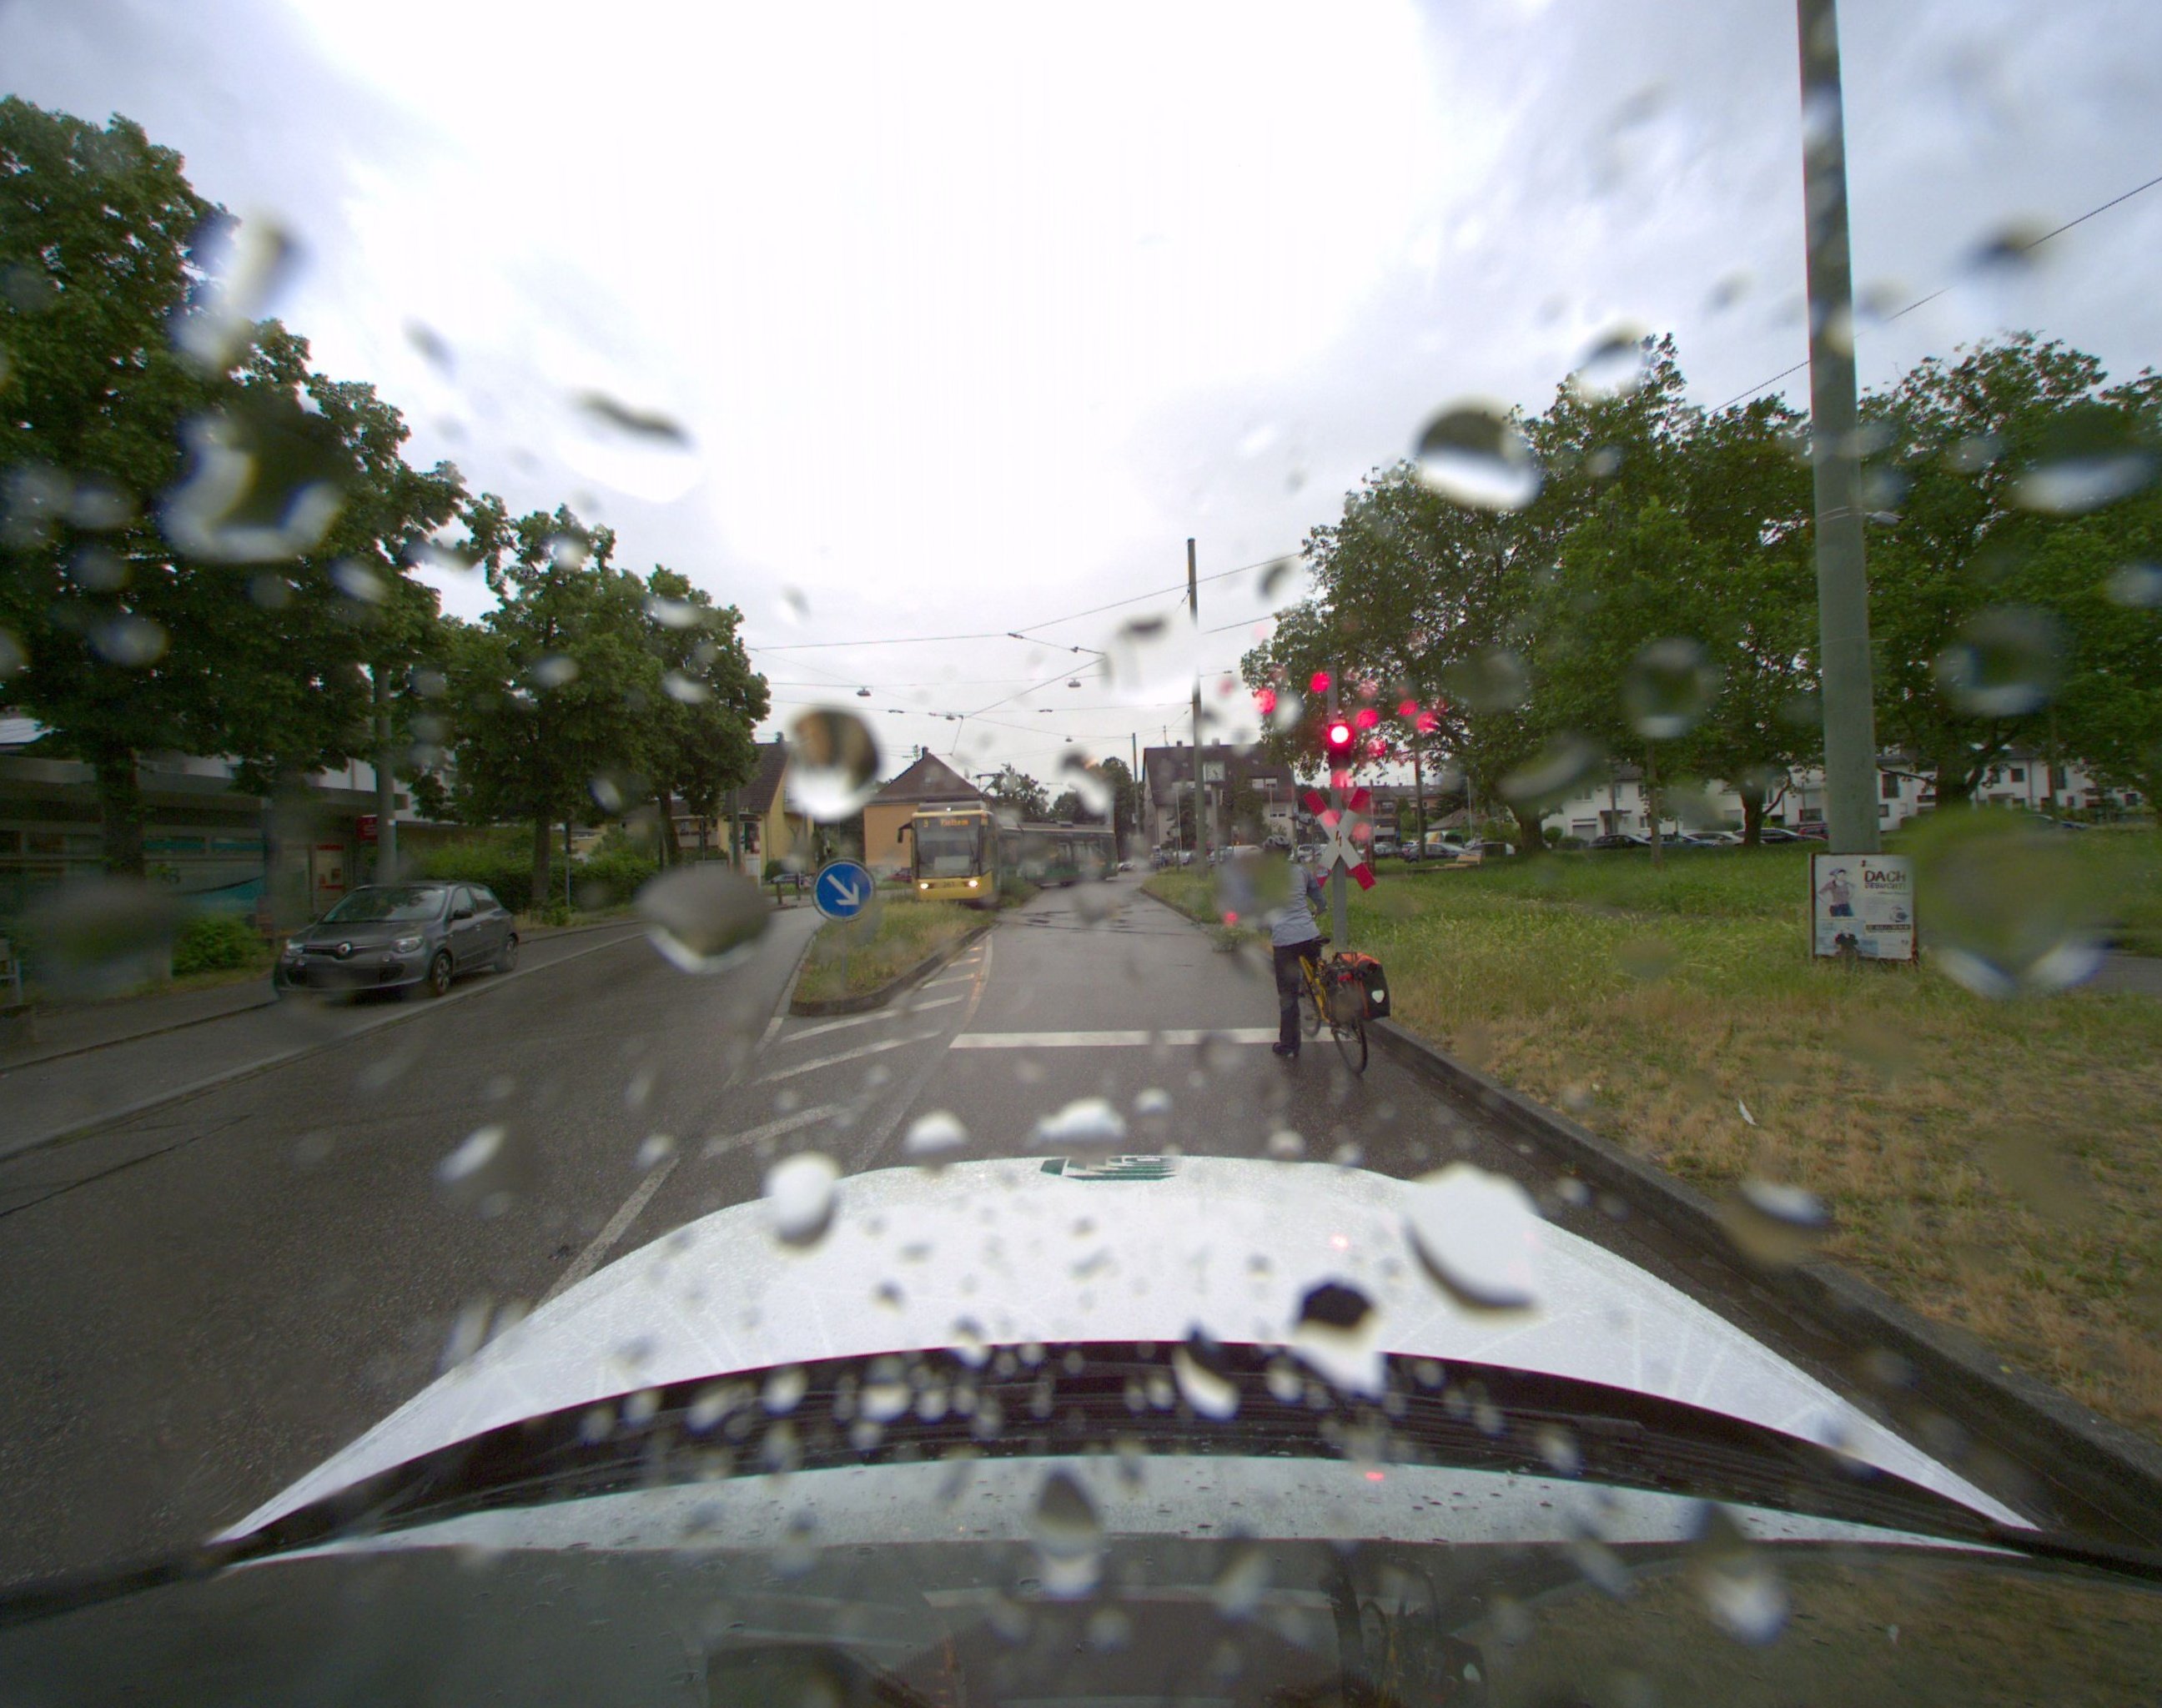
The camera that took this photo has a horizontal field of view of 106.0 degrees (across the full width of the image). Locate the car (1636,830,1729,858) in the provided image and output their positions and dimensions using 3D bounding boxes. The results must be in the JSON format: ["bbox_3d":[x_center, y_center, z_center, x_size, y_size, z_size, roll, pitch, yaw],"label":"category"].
[{"bbox_3d":[33.203,-0.517,44.991,1.821,1.495,3.867,0,-1,-44],"label":"car"}]

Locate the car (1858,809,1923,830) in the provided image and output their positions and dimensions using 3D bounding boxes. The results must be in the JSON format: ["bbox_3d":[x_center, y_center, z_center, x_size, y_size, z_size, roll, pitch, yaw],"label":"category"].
[{"bbox_3d":[69.999,-2.997,70.452,3.670,1.660,1.891,0,-1,2],"label":"car"}]

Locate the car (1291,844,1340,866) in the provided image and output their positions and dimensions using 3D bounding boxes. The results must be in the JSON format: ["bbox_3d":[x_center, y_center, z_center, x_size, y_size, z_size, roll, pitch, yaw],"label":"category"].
[{"bbox_3d":[21.812,0.083,75.929,3.974,1.951,1.999,0,-1,-1],"label":"car"}]

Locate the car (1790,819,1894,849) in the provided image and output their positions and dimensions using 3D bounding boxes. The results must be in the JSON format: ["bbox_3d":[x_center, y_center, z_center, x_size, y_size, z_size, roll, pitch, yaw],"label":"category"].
[{"bbox_3d":[42.628,-1.089,45.682,1.814,1.495,3.881,0,-1,-27],"label":"car"}]

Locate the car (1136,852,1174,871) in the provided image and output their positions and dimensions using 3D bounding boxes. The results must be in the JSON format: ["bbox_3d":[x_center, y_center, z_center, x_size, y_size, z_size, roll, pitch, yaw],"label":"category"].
[{"bbox_3d":[6.651,0.646,72.781,1.975,1.640,4.024,-1,-1,27],"label":"car"}]

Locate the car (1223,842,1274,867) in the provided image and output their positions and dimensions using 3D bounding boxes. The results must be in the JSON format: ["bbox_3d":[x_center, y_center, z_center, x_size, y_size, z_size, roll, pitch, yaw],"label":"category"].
[{"bbox_3d":[15.630,0.072,76.041,4.381,2.325,2.000,0,-1,-1],"label":"car"}]

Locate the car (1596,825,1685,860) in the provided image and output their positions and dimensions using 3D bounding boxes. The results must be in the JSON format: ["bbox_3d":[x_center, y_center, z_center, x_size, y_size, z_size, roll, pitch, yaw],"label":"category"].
[{"bbox_3d":[30.541,-0.612,44.533,1.821,1.798,3.721,0,-1,-44],"label":"car"}]

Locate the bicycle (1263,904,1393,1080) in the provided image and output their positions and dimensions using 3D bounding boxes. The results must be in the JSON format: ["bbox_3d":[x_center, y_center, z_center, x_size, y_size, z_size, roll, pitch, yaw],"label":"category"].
[{"bbox_3d":[1.793,0.946,6.139,0.444,1.004,1.728,-2,0,1],"label":"bicycle"}]

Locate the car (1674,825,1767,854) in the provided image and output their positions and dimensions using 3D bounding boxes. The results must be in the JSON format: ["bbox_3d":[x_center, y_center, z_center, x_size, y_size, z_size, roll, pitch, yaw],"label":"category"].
[{"bbox_3d":[35.706,-0.754,45.521,1.821,1.495,3.867,0,-1,-44],"label":"car"}]

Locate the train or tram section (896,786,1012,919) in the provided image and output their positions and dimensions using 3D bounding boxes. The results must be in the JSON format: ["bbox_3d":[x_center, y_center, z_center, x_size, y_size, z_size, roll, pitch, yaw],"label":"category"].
[{"bbox_3d":[-4.021,-0.039,28.562,2.755,3.553,12.187,-2,0,-4],"label":"train or tram section"}]

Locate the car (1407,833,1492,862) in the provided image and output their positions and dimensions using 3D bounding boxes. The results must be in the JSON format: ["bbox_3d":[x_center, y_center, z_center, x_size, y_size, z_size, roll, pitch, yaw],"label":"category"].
[{"bbox_3d":[20.259,-0.323,44.902,1.821,1.495,3.867,0,-1,-44],"label":"car"}]

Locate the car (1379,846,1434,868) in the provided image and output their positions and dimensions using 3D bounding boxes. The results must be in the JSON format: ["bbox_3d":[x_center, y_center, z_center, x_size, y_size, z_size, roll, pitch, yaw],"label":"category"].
[{"bbox_3d":[25.896,0.208,64.954,3.670,1.701,1.891,0,-1,2],"label":"car"}]

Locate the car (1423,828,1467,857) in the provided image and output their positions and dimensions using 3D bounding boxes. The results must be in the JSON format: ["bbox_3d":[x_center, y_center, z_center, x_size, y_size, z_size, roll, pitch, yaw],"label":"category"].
[{"bbox_3d":[32.576,-0.971,72.994,1.987,2.443,4.354,0,-1,1],"label":"car"}]

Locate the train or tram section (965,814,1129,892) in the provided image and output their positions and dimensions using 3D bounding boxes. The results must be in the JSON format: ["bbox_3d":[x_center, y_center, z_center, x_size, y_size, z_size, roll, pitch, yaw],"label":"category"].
[{"bbox_3d":[-1.302,-0.184,44.060,2.735,3.553,13.212,-2,0,26],"label":"train or tram section"}]

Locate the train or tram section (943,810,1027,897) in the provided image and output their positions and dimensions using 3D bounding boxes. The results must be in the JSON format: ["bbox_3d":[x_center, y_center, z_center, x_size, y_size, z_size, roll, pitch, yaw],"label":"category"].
[{"bbox_3d":[-4.204,-0.038,36.841,2.748,3.553,4.993,-2,0,4],"label":"train or tram section"}]

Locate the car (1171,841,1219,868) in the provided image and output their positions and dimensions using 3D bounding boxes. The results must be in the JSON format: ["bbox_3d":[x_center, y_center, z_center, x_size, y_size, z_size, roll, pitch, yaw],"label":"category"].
[{"bbox_3d":[11.182,0.020,79.718,4.362,2.566,2.008,-1,-1,16],"label":"car"}]

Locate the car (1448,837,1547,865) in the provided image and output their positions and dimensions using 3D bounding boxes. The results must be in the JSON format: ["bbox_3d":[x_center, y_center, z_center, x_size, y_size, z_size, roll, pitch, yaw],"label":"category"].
[{"bbox_3d":[20.504,-0.131,40.248,3.964,1.285,1.851,0,-1,9],"label":"car"}]

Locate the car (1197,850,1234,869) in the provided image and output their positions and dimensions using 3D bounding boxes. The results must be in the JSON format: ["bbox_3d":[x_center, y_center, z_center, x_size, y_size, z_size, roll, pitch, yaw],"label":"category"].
[{"bbox_3d":[11.629,0.475,70.247,1.975,1.640,4.024,-1,-1,27],"label":"car"}]

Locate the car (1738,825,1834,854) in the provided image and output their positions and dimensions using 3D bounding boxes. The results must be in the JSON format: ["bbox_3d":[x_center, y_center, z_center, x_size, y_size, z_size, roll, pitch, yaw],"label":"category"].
[{"bbox_3d":[39.265,-0.781,45.409,1.821,1.495,3.867,0,-1,-44],"label":"car"}]

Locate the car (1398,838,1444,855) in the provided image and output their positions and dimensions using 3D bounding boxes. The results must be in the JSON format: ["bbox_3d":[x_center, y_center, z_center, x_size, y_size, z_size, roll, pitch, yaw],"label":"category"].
[{"bbox_3d":[35.426,-0.779,84.946,3.971,1.640,1.847,0,-1,2],"label":"car"}]

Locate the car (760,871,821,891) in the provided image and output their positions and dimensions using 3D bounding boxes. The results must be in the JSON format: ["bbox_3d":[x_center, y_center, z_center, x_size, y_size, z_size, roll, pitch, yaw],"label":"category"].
[{"bbox_3d":[-22.106,2.036,62.029,3.979,1.456,1.831,0,-1,-5],"label":"car"}]

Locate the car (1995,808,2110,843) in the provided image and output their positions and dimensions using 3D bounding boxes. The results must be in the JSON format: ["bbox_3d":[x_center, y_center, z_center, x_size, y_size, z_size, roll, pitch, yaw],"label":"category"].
[{"bbox_3d":[54.634,-1.577,45.859,1.815,1.765,3.879,0,-1,-29],"label":"car"}]

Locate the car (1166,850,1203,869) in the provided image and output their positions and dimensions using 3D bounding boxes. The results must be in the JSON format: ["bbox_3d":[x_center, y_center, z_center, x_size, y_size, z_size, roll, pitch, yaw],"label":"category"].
[{"bbox_3d":[9.097,0.506,71.478,1.975,1.640,4.024,-1,-1,27],"label":"car"}]

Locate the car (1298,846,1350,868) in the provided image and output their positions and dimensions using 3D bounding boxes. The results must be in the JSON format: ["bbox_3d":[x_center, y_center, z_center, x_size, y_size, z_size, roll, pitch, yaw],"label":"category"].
[{"bbox_3d":[19.315,0.253,64.810,3.670,1.701,1.891,0,-1,2],"label":"car"}]

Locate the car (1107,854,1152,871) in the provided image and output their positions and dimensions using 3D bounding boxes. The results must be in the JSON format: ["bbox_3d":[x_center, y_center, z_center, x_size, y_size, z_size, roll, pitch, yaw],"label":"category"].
[{"bbox_3d":[4.745,0.788,79.990,4.015,1.643,1.979,0,-1,-34],"label":"car"}]

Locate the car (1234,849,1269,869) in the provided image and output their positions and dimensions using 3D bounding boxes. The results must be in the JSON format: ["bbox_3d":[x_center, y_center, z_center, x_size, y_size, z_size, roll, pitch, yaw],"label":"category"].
[{"bbox_3d":[14.744,0.454,70.392,1.975,1.640,4.024,-1,-1,27],"label":"car"}]

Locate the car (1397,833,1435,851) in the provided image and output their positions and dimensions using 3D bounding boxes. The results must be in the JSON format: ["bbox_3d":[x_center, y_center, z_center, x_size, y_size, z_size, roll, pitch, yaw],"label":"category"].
[{"bbox_3d":[39.116,-1.360,95.162,1.998,2.014,3.978,0,-1,-16],"label":"car"}]

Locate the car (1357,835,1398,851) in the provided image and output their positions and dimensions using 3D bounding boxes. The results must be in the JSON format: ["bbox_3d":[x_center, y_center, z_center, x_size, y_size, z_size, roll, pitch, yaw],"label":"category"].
[{"bbox_3d":[33.145,-1.233,91.037,3.968,1.791,2.003,0,-1,4],"label":"car"}]

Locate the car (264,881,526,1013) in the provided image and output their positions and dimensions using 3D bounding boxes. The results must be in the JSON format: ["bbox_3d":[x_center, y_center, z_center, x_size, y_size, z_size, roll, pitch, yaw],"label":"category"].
[{"bbox_3d":[-9.685,1.192,11.880,1.621,1.496,3.645,0,-1,-18],"label":"car"}]

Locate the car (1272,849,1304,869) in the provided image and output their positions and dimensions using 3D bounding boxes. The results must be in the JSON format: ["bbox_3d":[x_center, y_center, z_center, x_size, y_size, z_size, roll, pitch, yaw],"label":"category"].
[{"bbox_3d":[17.977,0.434,70.705,1.823,1.640,4.024,-1,-1,27],"label":"car"}]

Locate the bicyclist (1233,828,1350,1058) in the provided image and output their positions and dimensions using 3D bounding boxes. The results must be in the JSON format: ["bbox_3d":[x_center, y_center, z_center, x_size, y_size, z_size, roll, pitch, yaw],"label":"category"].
[{"bbox_3d":[1.578,0.637,6.225,0.665,1.626,0.853,0,-1,1],"label":"bicyclist"}]

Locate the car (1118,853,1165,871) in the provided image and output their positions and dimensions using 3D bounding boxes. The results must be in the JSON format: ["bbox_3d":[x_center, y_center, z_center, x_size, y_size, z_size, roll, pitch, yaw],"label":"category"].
[{"bbox_3d":[5.715,0.750,76.896,4.015,1.675,1.979,0,-1,-34],"label":"car"}]

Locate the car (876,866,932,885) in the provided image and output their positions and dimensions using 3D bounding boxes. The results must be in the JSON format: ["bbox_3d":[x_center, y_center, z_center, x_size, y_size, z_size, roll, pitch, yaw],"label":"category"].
[{"bbox_3d":[-13.661,1.657,63.073,3.979,1.456,1.831,0,-1,-5],"label":"car"}]
